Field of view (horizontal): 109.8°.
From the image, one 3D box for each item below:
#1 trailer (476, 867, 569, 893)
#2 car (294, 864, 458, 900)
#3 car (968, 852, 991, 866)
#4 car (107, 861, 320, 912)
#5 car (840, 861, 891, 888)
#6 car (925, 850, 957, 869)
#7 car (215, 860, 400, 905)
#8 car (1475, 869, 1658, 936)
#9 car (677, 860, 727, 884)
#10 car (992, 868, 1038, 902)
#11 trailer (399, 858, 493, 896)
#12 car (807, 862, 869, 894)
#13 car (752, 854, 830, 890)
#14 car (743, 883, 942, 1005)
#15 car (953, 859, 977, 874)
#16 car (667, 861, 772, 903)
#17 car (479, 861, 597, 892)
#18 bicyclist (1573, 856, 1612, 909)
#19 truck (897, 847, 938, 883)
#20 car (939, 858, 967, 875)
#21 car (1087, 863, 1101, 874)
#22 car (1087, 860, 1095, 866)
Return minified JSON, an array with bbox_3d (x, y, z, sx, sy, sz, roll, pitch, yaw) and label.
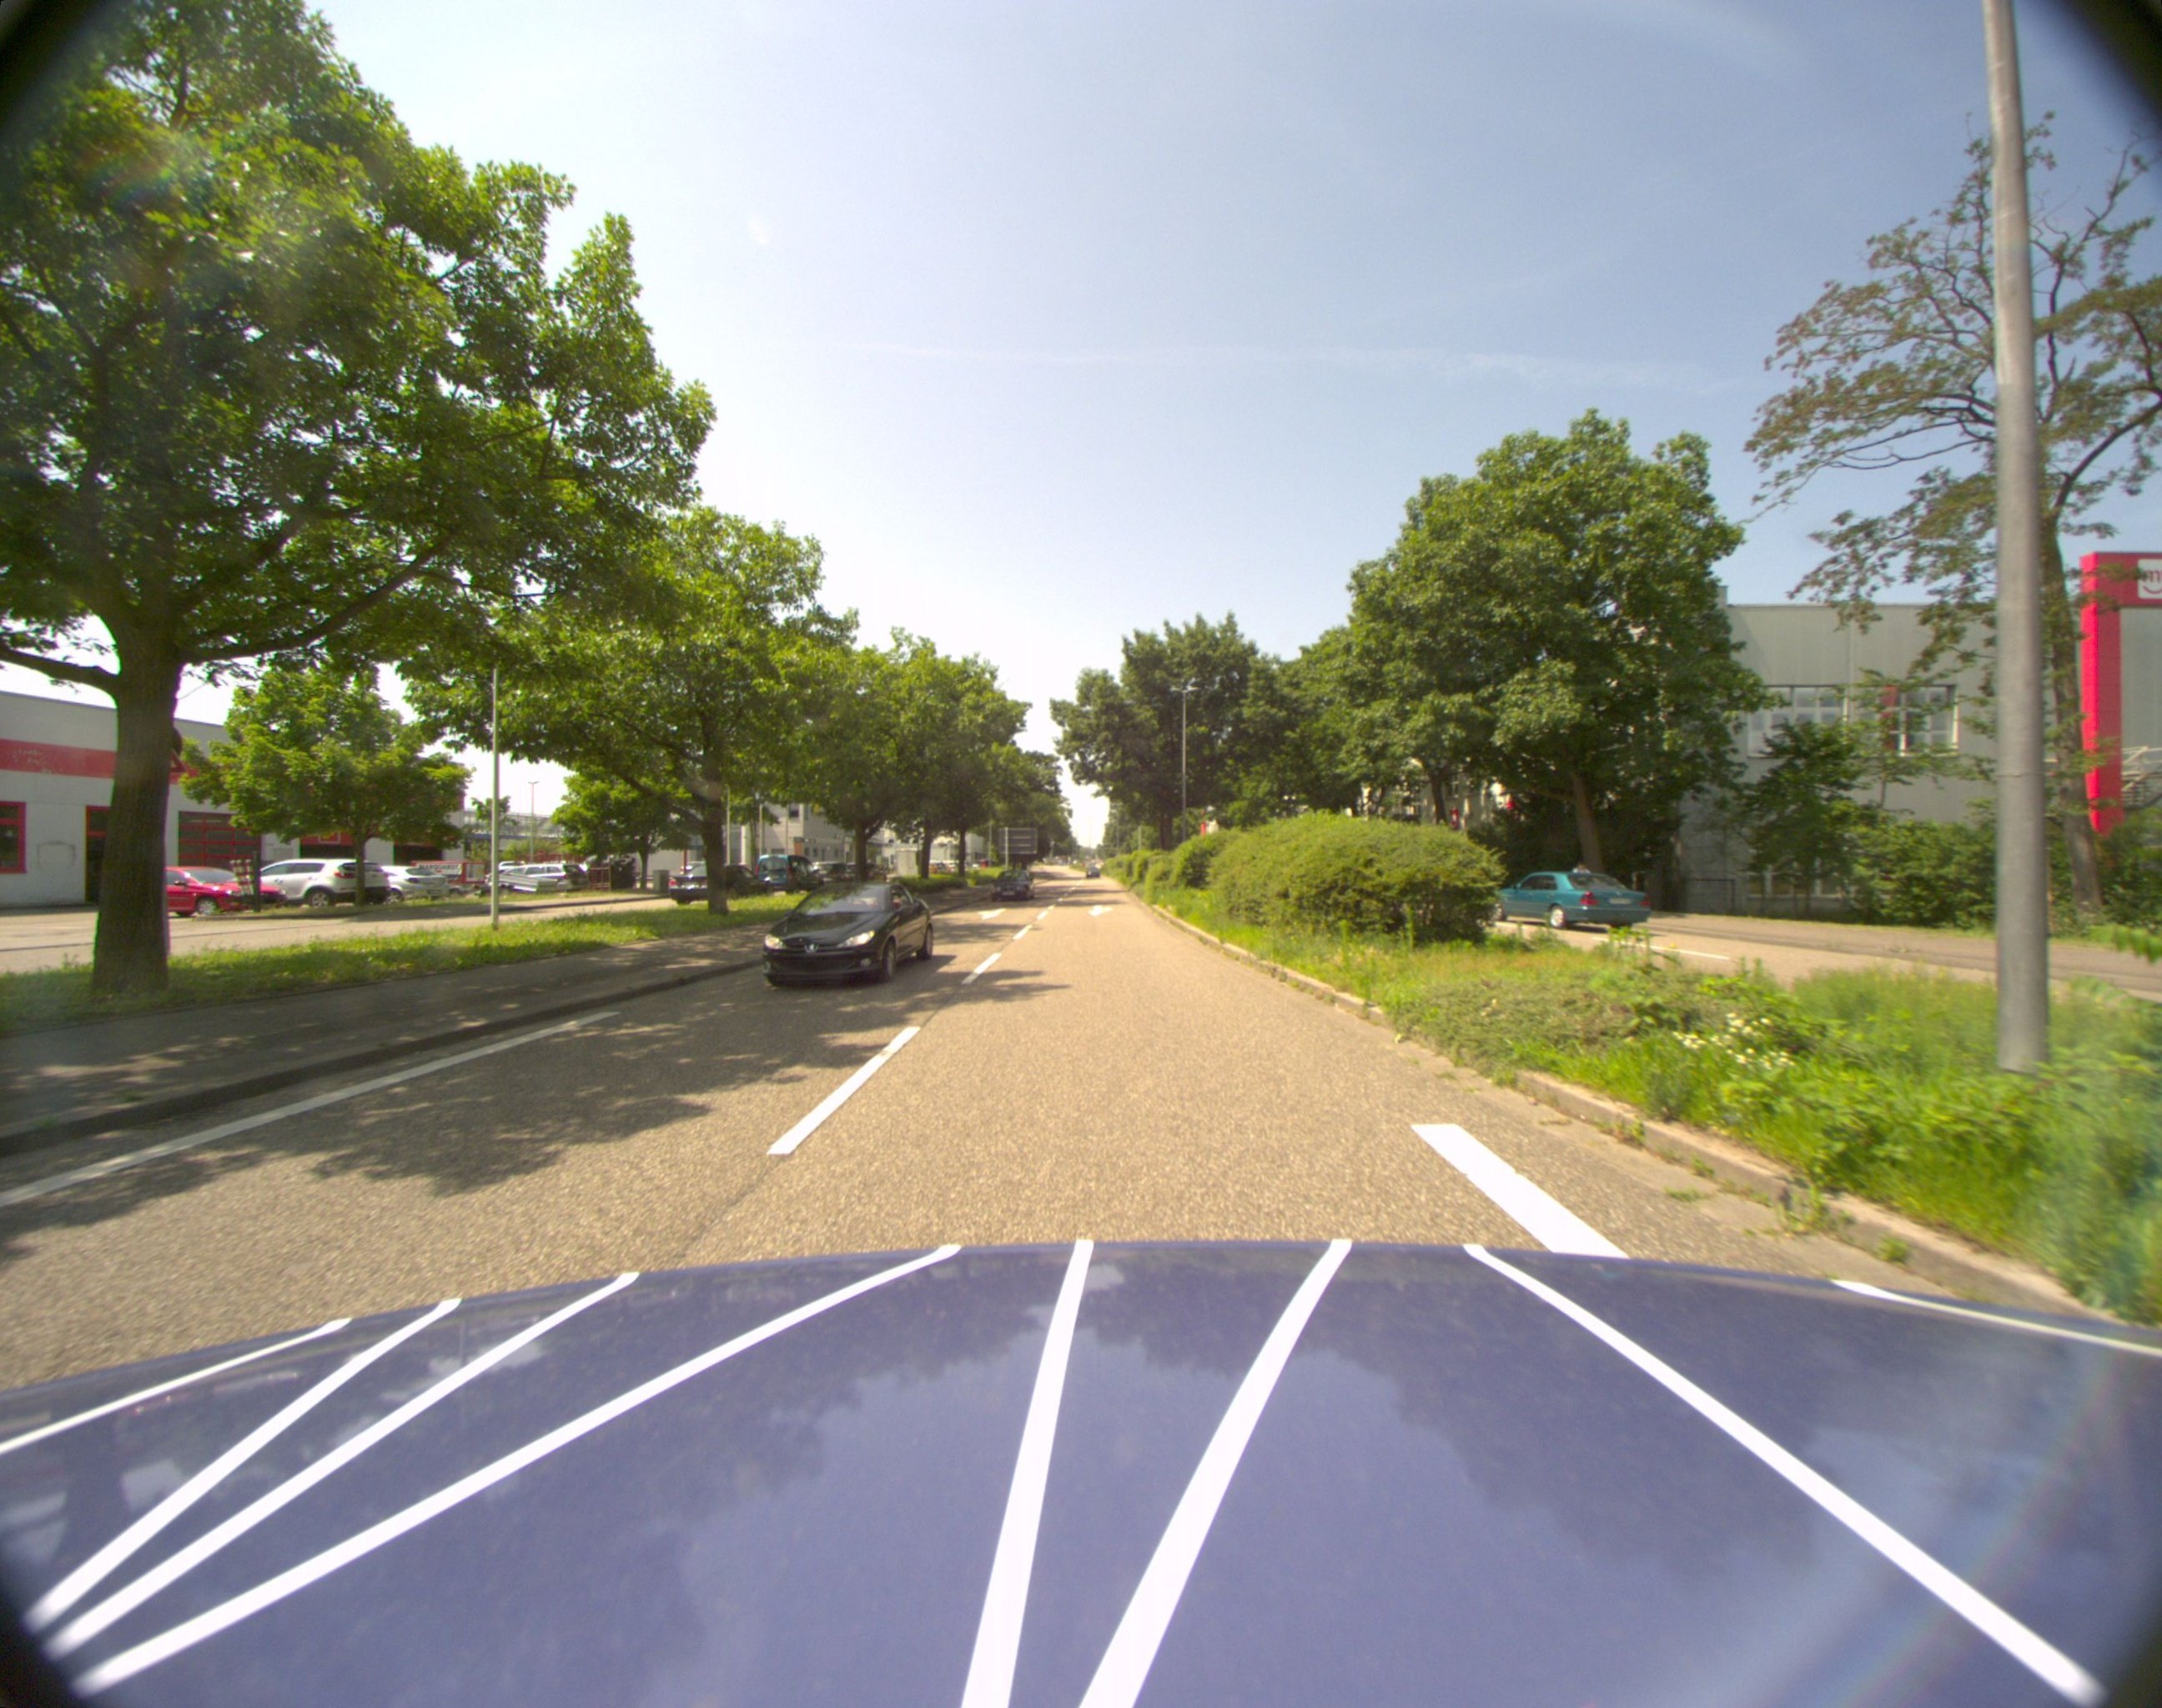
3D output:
[{"bbox_3d":[-23.097,1.050,31.486,2.642,1.046,1.578,0,0,-1],"label":"trailer"},{"bbox_3d":[-24.373,0.947,26.380,3.997,1.201,1.747,0,0,-2],"label":"car"},{"bbox_3d":[-10.916,0.544,81.882,1.719,1.458,4.001,0,0,2],"label":"car"},{"bbox_3d":[-24.563,0.886,21.620,3.997,1.394,1.747,0,0,-1],"label":"car"},{"bbox_3d":[-12.419,1.165,44.018,1.719,1.504,4.001,0,0,2],"label":"car"},{"bbox_3d":[-11.361,0.443,61.853,1.719,1.458,4.001,0,0,2],"label":"car"},{"bbox_3d":[-24.442,0.877,24.115,3.997,1.394,1.747,0,0,-2],"label":"car"},{"bbox_3d":[12.161,1.147,19.458,1.690,1.379,4.588,2,0,0],"label":"car"},{"bbox_3d":[-25.852,1.207,51.980,1.759,1.586,3.998,0,0,-5],"label":"car"},{"bbox_3d":[-2.954,1.353,34.636,1.642,1.363,4.146,-2,0,1],"label":"car"},{"bbox_3d":[-26.200,0.922,31.401,2.642,1.518,1.415,0,0,-1],"label":"trailer"},{"bbox_3d":[-12.127,1.155,38.174,1.719,1.511,4.001,0,0,2],"label":"car"},{"bbox_3d":[-12.358,0.753,32.668,1.719,1.458,4.001,0,0,2],"label":"car"},{"bbox_3d":[-3.347,1.204,11.491,1.642,1.336,4.000,-2,0,1],"label":"car"},{"bbox_3d":[-11.579,1.216,76.048,1.719,1.458,4.001,0,0,2],"label":"car"},{"bbox_3d":[-12.563,0.925,26.678,1.642,1.363,4.001,0,0,2],"label":"car"},{"bbox_3d":[-23.920,0.977,33.568,3.997,1.293,1.689,0,0,-2],"label":"car"},{"bbox_3d":[15.962,0.861,23.725,0.609,1.621,0.923,0,0,2],"label":"bicyclist"},{"bbox_3d":[-11.917,0.761,55.694,1.904,2.551,4.001,0,0,3],"label":"truck"},{"bbox_3d":[-11.395,1.117,67.991,1.719,1.458,4.001,0,0,2],"label":"car"},{"bbox_3d":[1.643,1.805,95.518,1.642,1.395,4.000,0,0,1],"label":"car"},{"bbox_3d":[2.571,2.217,188.057,1.998,1.692,4.000,0,0,1],"label":"car"}]
